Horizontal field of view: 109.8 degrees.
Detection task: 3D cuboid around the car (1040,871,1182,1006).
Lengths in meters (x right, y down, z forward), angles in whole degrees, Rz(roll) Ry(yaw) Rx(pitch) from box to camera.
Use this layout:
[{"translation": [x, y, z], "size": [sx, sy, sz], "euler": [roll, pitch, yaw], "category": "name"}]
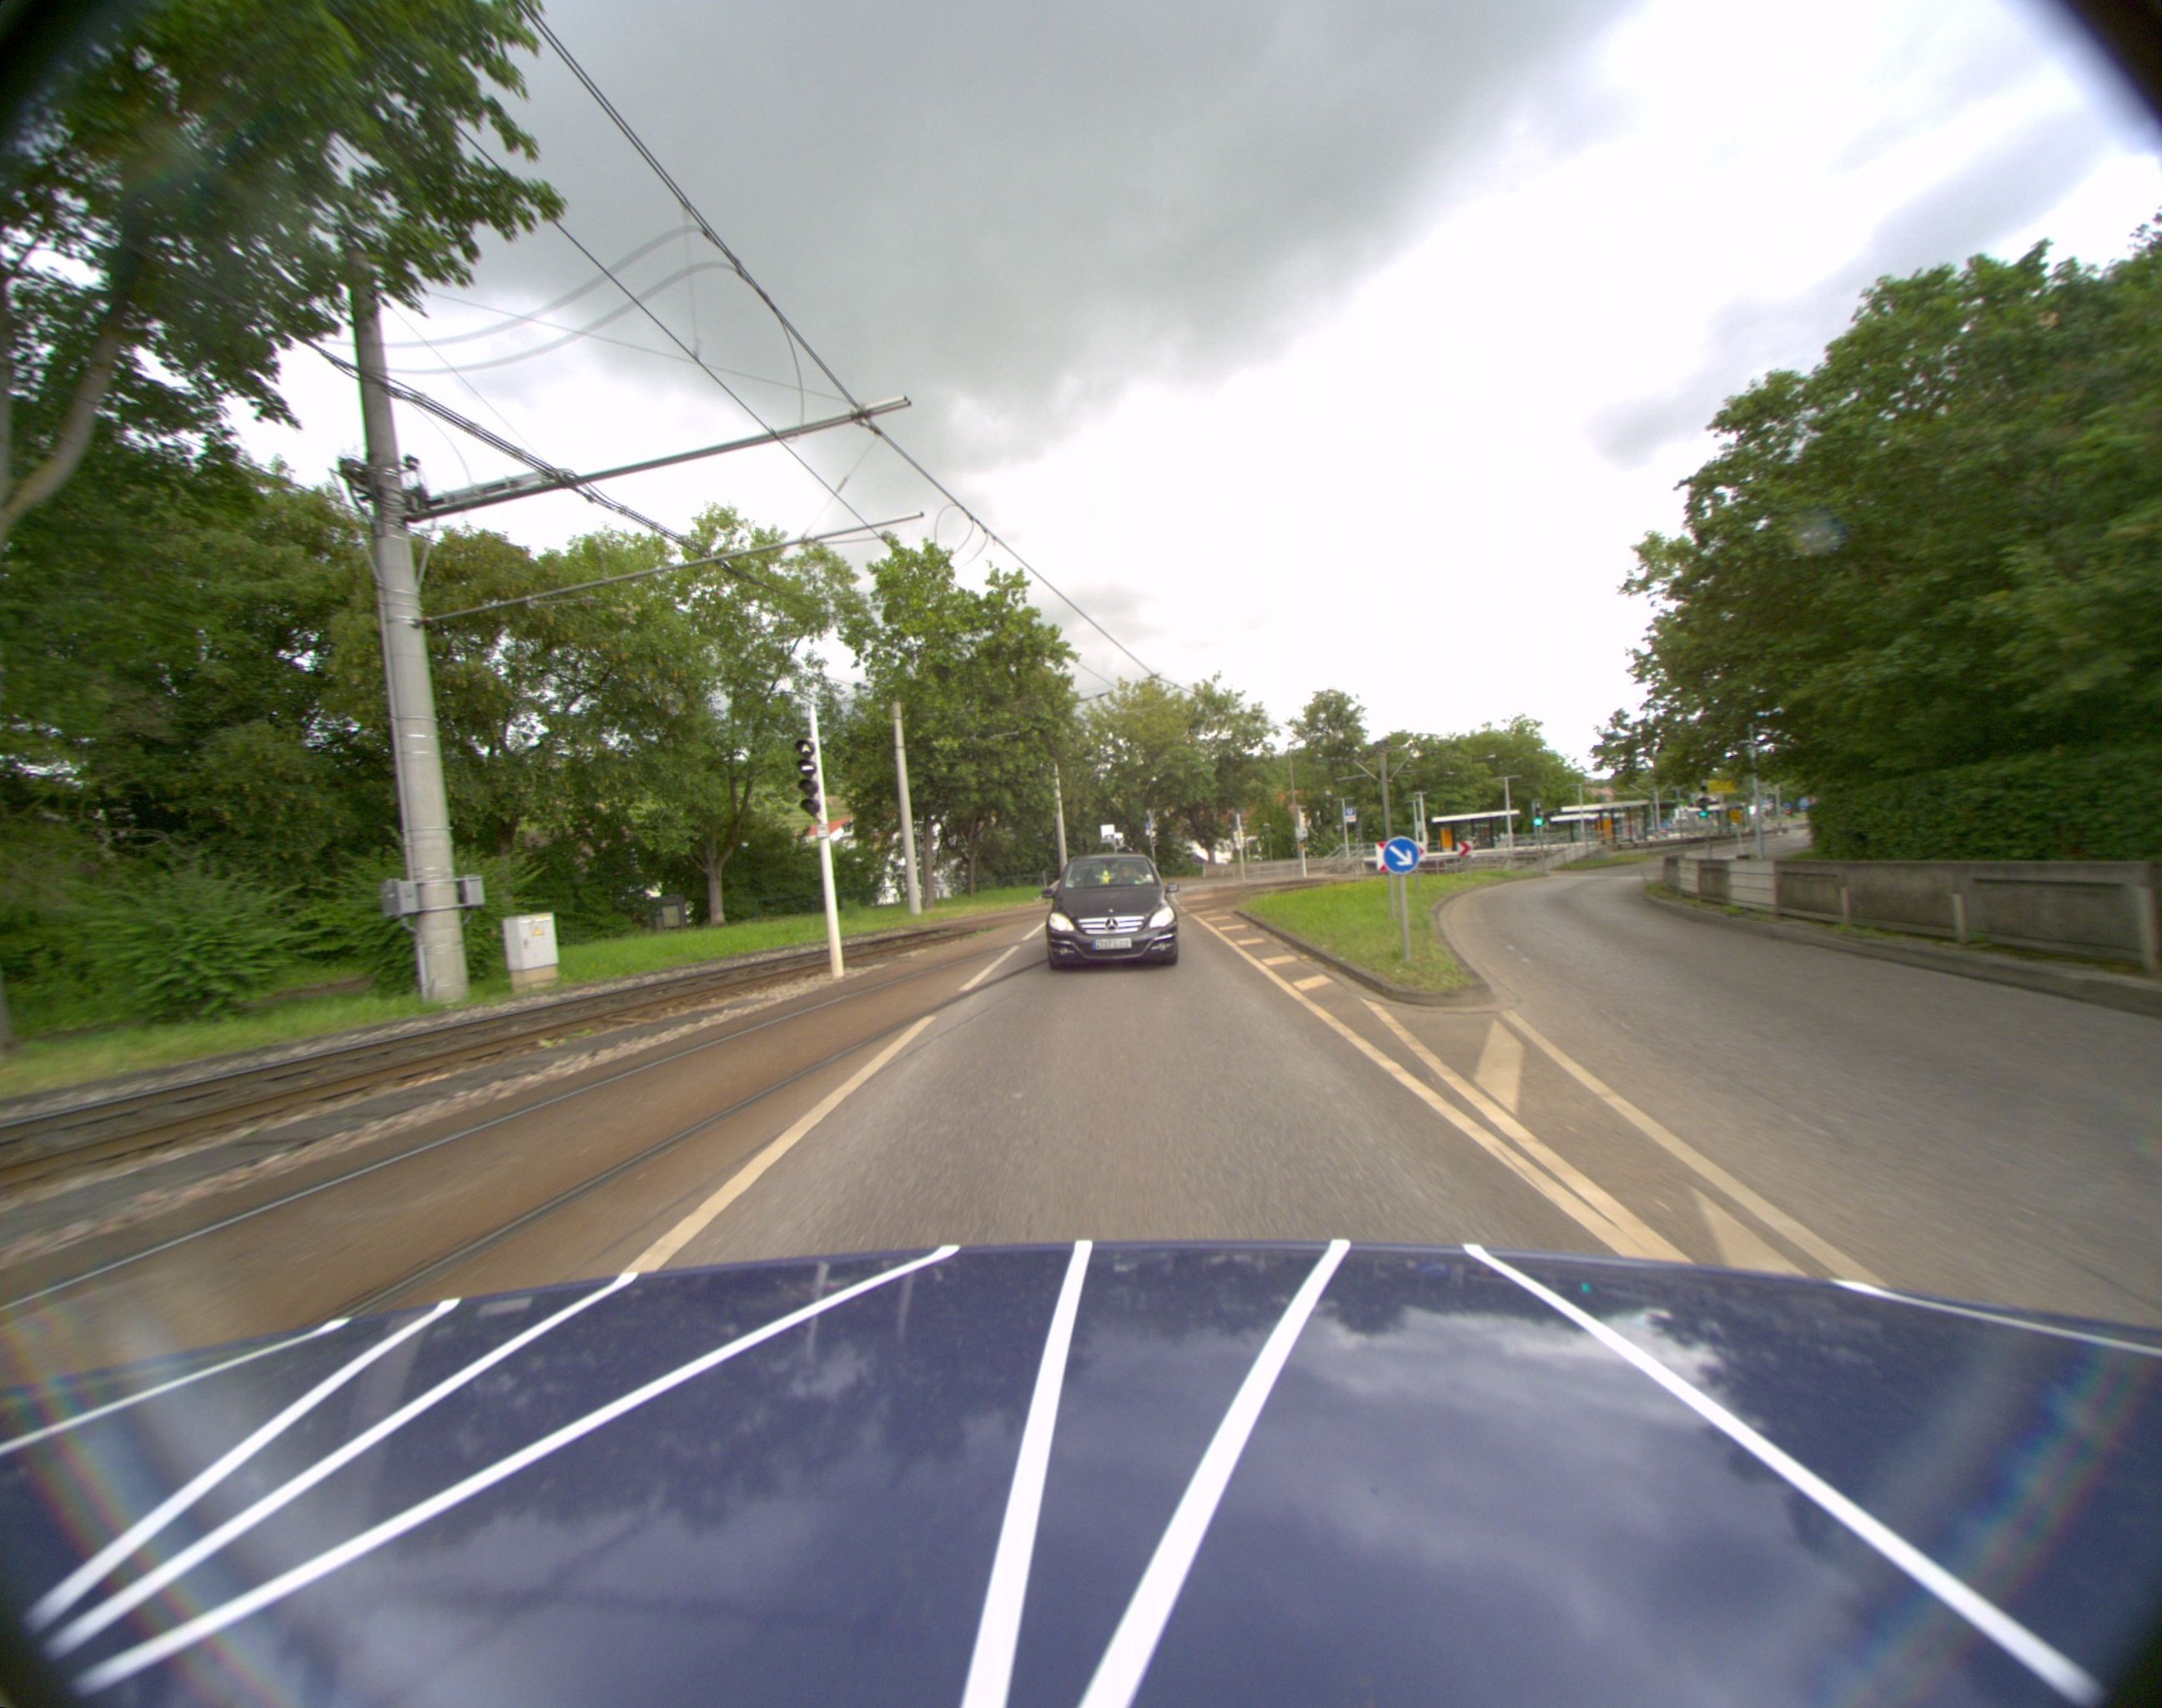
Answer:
[{"translation": [0.534, 1.113, 11.708], "size": [1.711, 1.573, 4.444], "euler": [-2, 0, 4], "category": "car"}]
